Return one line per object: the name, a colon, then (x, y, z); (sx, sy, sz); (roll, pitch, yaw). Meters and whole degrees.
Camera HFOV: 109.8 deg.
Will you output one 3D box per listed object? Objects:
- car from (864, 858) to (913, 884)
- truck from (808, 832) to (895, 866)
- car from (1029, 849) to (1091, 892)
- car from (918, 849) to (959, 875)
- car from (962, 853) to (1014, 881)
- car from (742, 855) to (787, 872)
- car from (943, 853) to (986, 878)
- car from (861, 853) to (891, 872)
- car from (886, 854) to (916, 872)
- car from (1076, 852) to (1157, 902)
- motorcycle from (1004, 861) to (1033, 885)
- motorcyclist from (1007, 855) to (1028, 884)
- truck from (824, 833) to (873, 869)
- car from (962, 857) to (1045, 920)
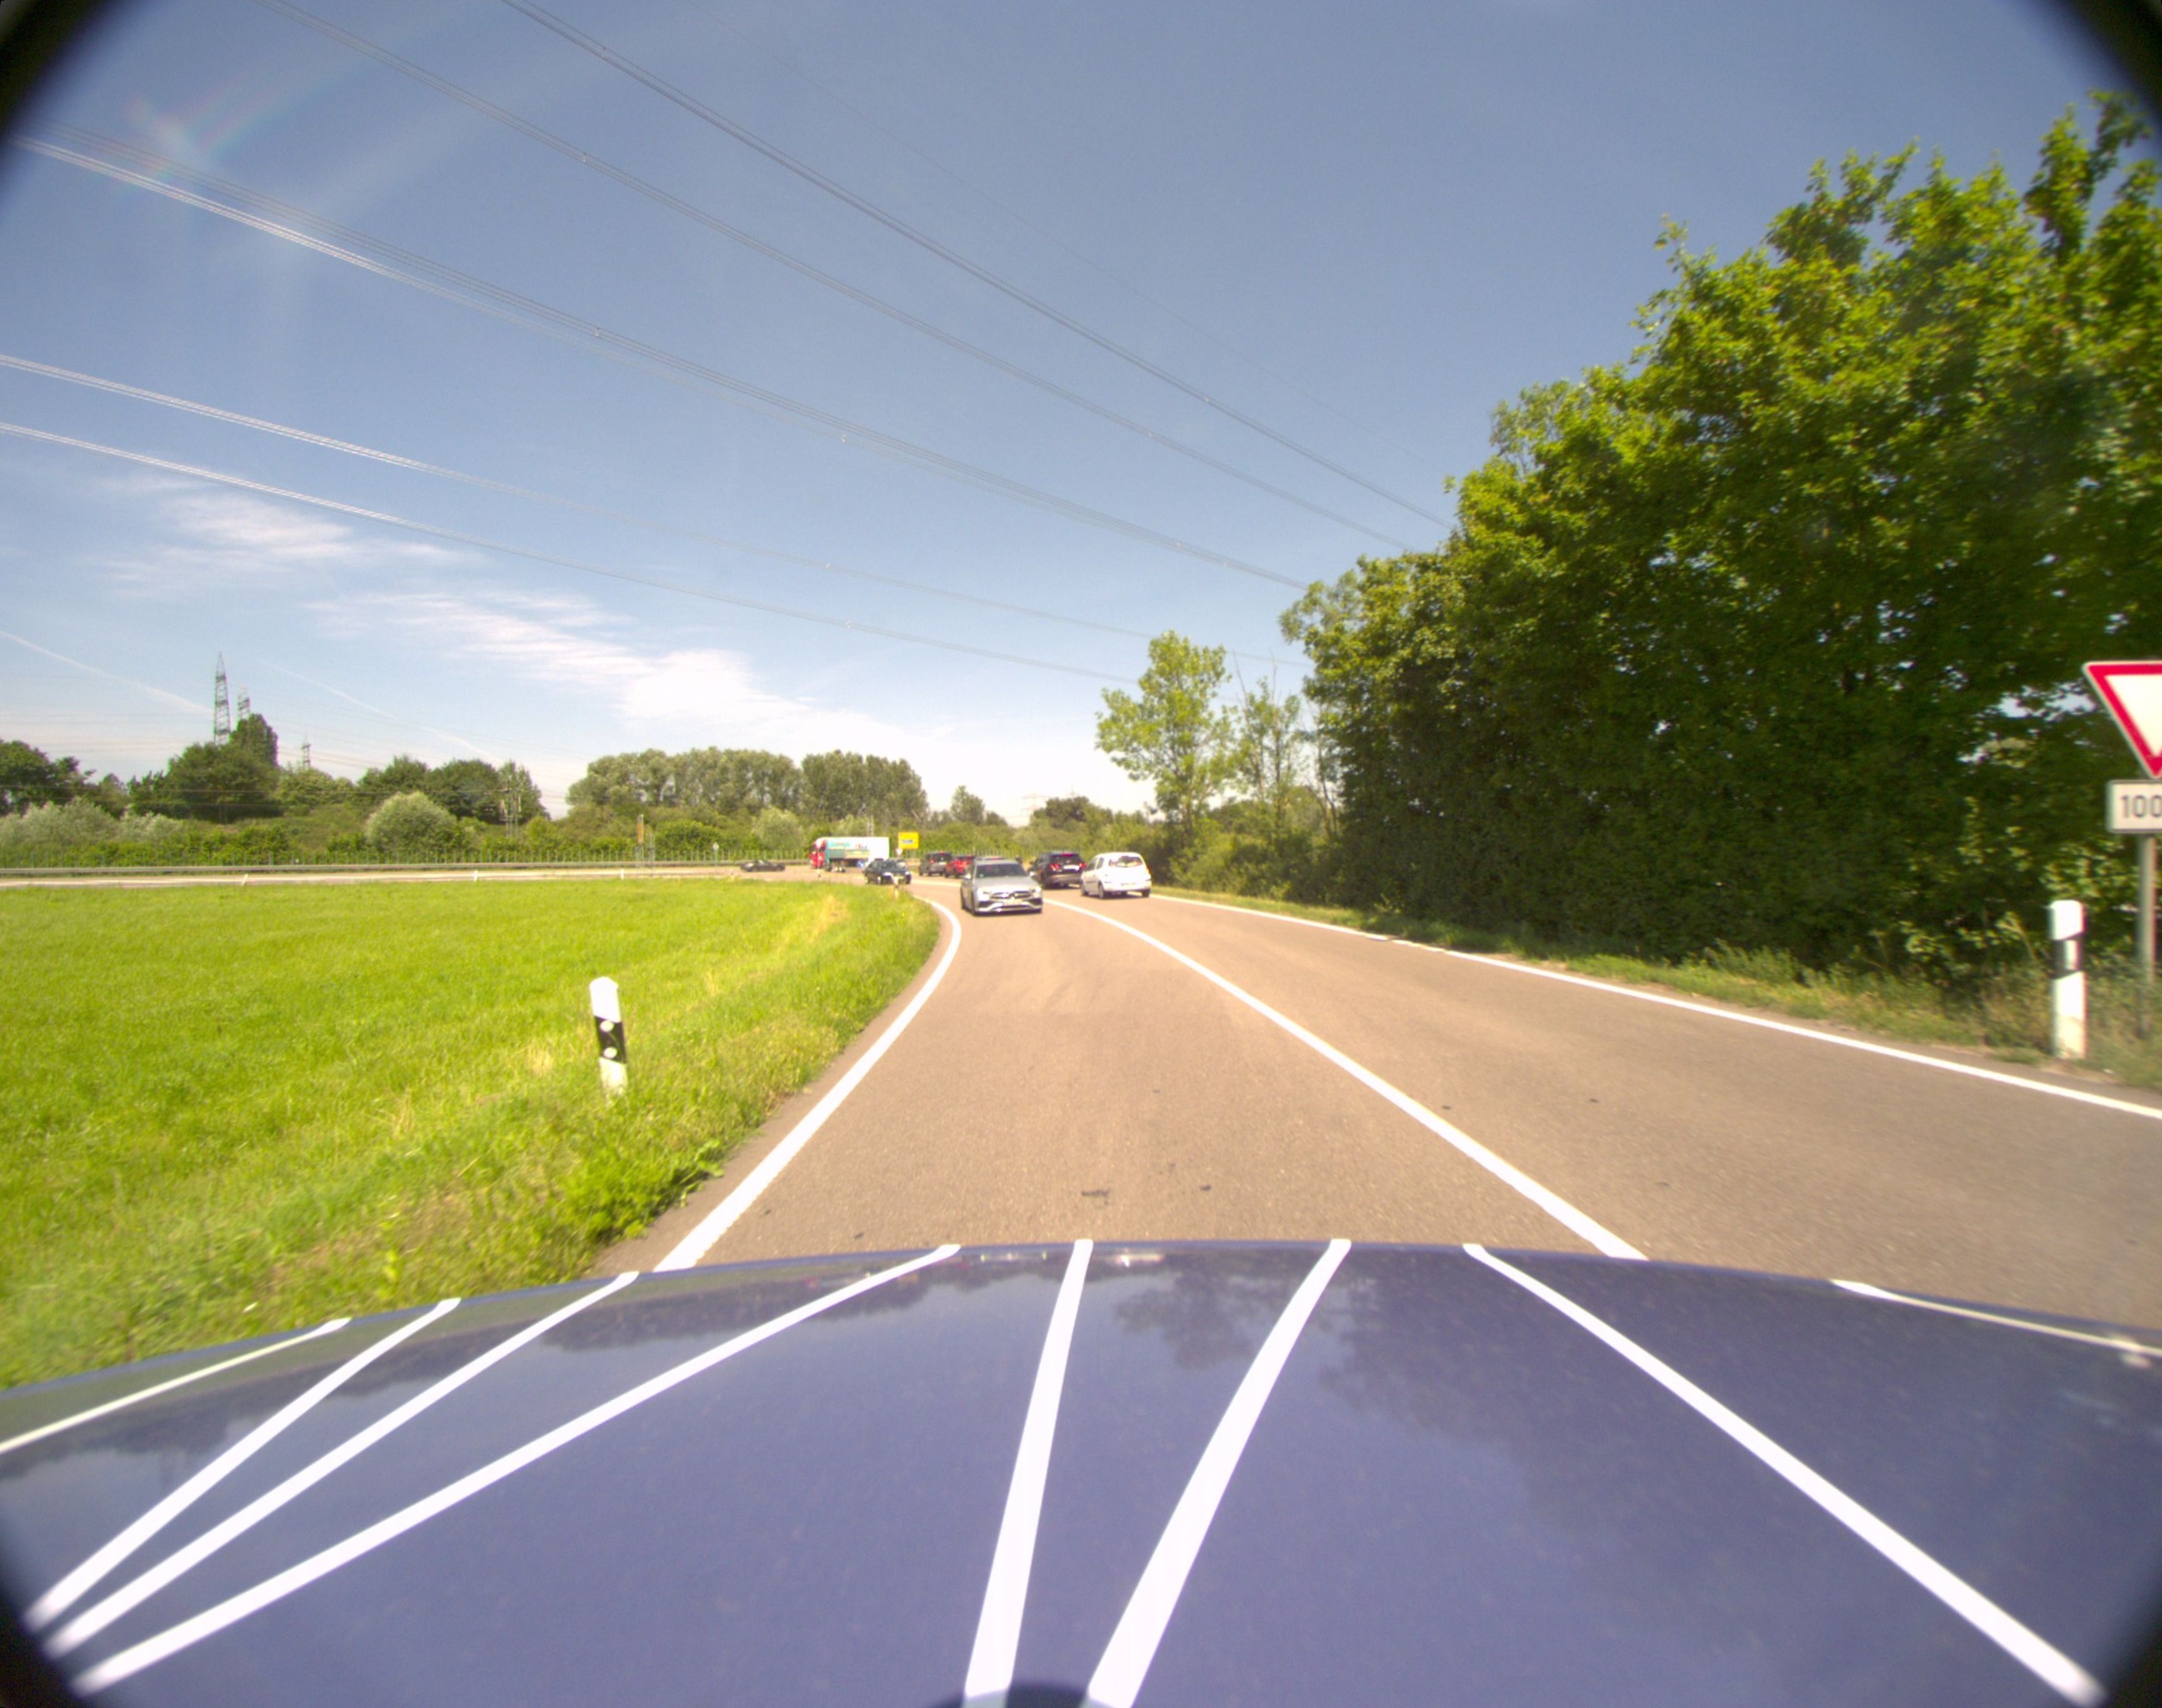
car: (-11.423, 0.971, 44.938); (1.828, 1.431, 4.139); (-1, 1, -29)
truck: (-27.304, -0.660, 90.835); (9.572, 3.559, 2.718); (-3, 2, -40)
car: (-0.975, 0.664, 33.318); (1.708, 1.629, 4.242); (-2, 2, -15)
car: (-10.706, 0.541, 56.854); (1.935, 1.822, 4.429); (-1, 1, -25)
car: (-5.569, 0.717, 44.938); (1.849, 1.452, 4.799); (-2, 1, -22)
car: (-33.539, 0.965, 80.533); (4.008, 1.714, 1.720); (0, 1, -37)
car: (-7.755, 0.722, 50.354); (1.807, 1.507, 4.382); (-1, 1, -22)
car: (-19.348, 0.773, 71.644); (1.780, 1.611, 4.321); (-3, 1, -27)
car: (-15.689, 0.779, 66.200); (1.640, 1.451, 3.999); (-1, 0, -27)
car: (1.116, 0.708, 25.638); (1.542, 1.435, 3.601); (-4, 2, -17)
motorcycle: (-3.301, 0.994, 40.143); (0.785, 1.117, 2.425); (-3, 2, -23)
motorcyclist: (-3.367, 0.802, 40.212); (0.784, 1.486, 1.128); (-2, 1, -23)
truck: (-23.754, -0.282, 77.423); (2.615, 3.451, 7.589); (-1, 0, -35)
car: (-2.263, 0.877, 21.238); (1.826, 1.478, 4.143); (-1, 1, -13)
